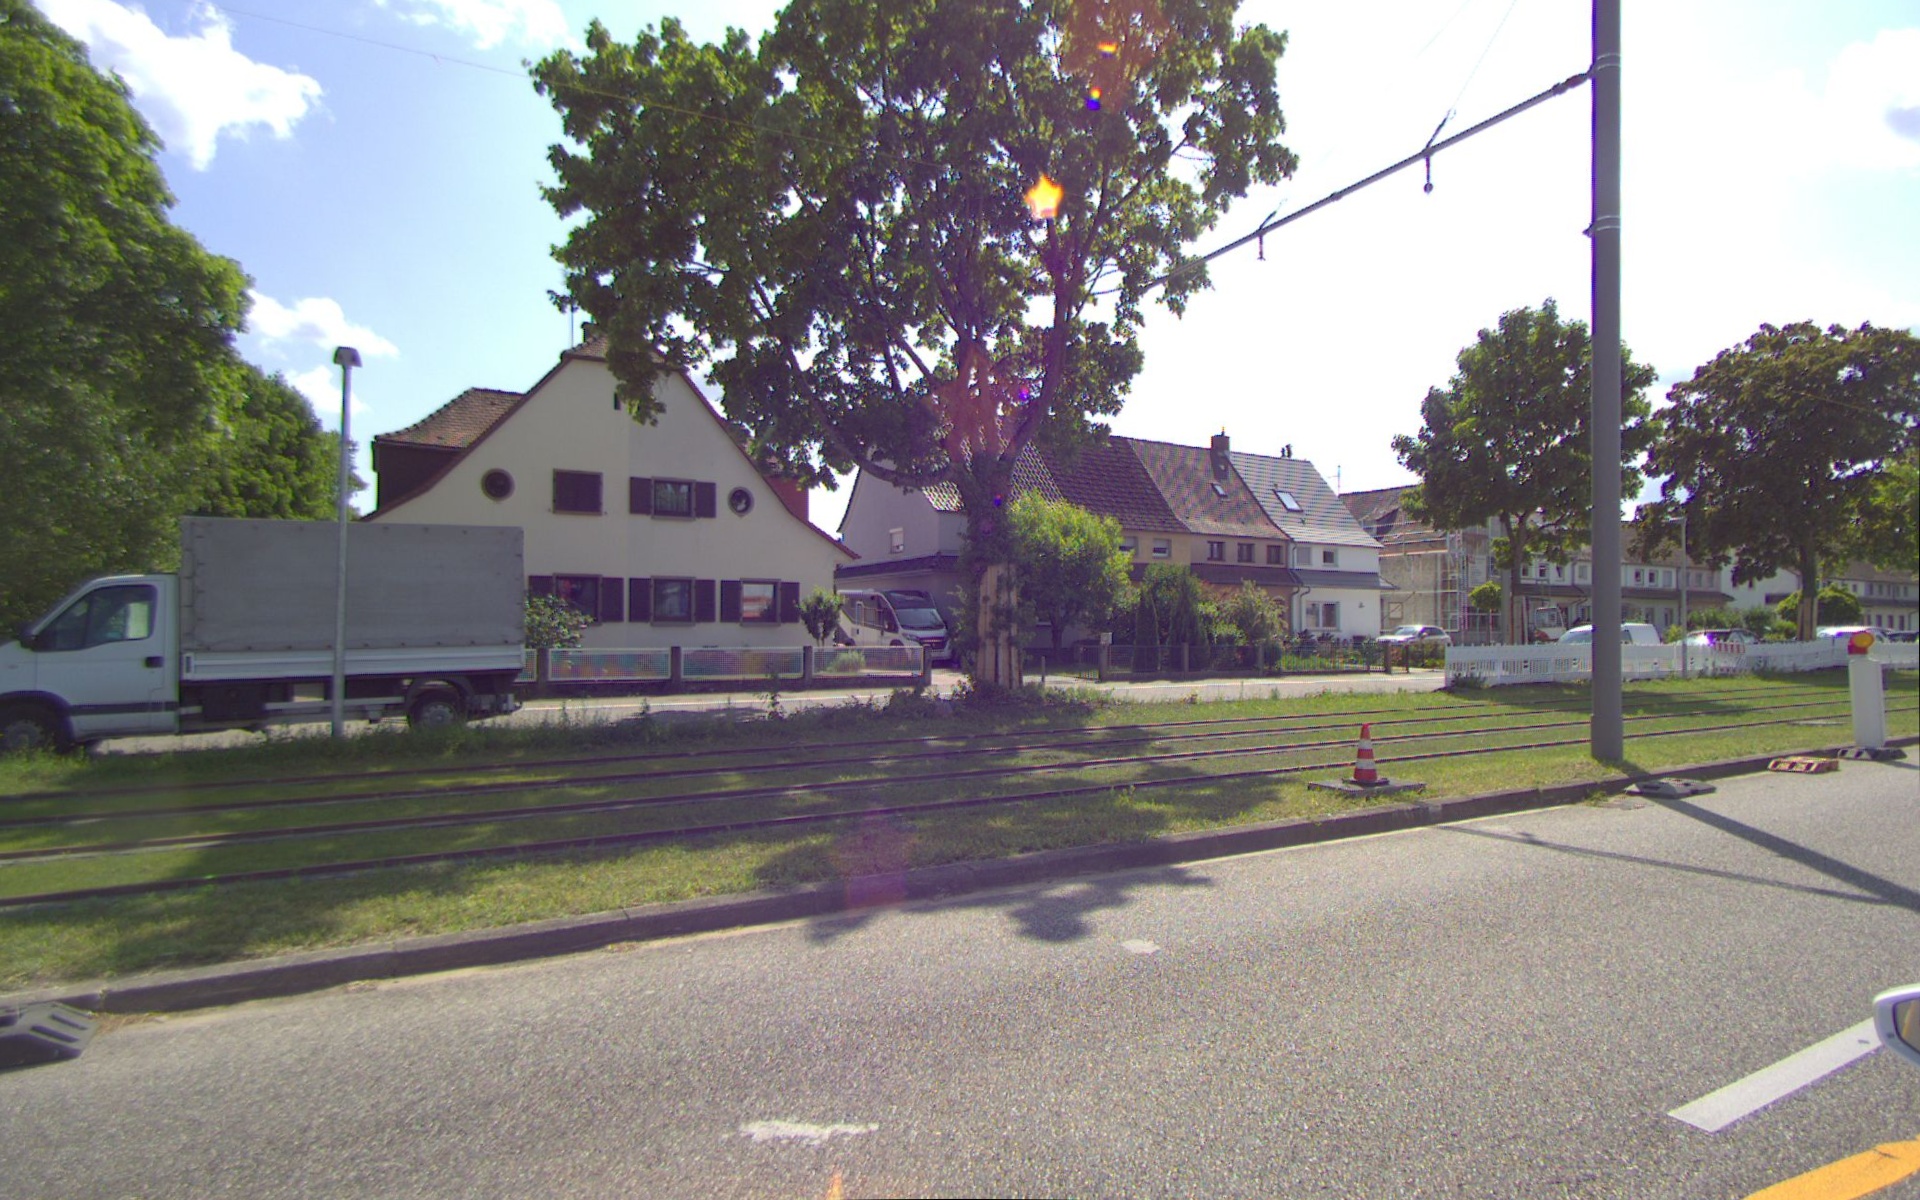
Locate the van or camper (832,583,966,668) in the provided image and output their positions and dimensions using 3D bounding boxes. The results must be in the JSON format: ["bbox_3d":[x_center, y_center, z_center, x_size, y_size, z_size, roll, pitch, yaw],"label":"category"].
[{"bbox_3d":[-2.355,0.943,36.609,2.269,2.801,6.051,1,-2,-32],"label":"van or camper"}]

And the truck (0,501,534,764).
[{"bbox_3d":[-8.834,0.410,12.963,5.906,2.817,2.255,1,-2,-31],"label":"truck"}]

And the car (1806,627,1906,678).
[{"bbox_3d":[35.361,2.030,39.636,4.079,1.892,1.768,1,-2,-30],"label":"car"}]

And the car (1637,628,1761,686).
[{"bbox_3d":[24.289,1.810,32.997,4.177,1.797,1.768,1,-2,-30],"label":"car"}]

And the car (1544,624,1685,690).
[{"bbox_3d":[19.580,1.645,30.002,4.312,1.845,1.768,1,-2,-30],"label":"car"}]

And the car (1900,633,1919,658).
[{"bbox_3d":[70.027,3.297,72.745,4.079,1.745,1.768,1,-2,-30],"label":"car"}]

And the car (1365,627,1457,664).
[{"bbox_3d":[19.988,1.992,44.490,3.952,1.539,1.768,1,-2,-30],"label":"car"}]

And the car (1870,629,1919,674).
[{"bbox_3d":[40.644,2.163,42.693,4.079,1.829,1.768,1,-2,-30],"label":"car"}]
